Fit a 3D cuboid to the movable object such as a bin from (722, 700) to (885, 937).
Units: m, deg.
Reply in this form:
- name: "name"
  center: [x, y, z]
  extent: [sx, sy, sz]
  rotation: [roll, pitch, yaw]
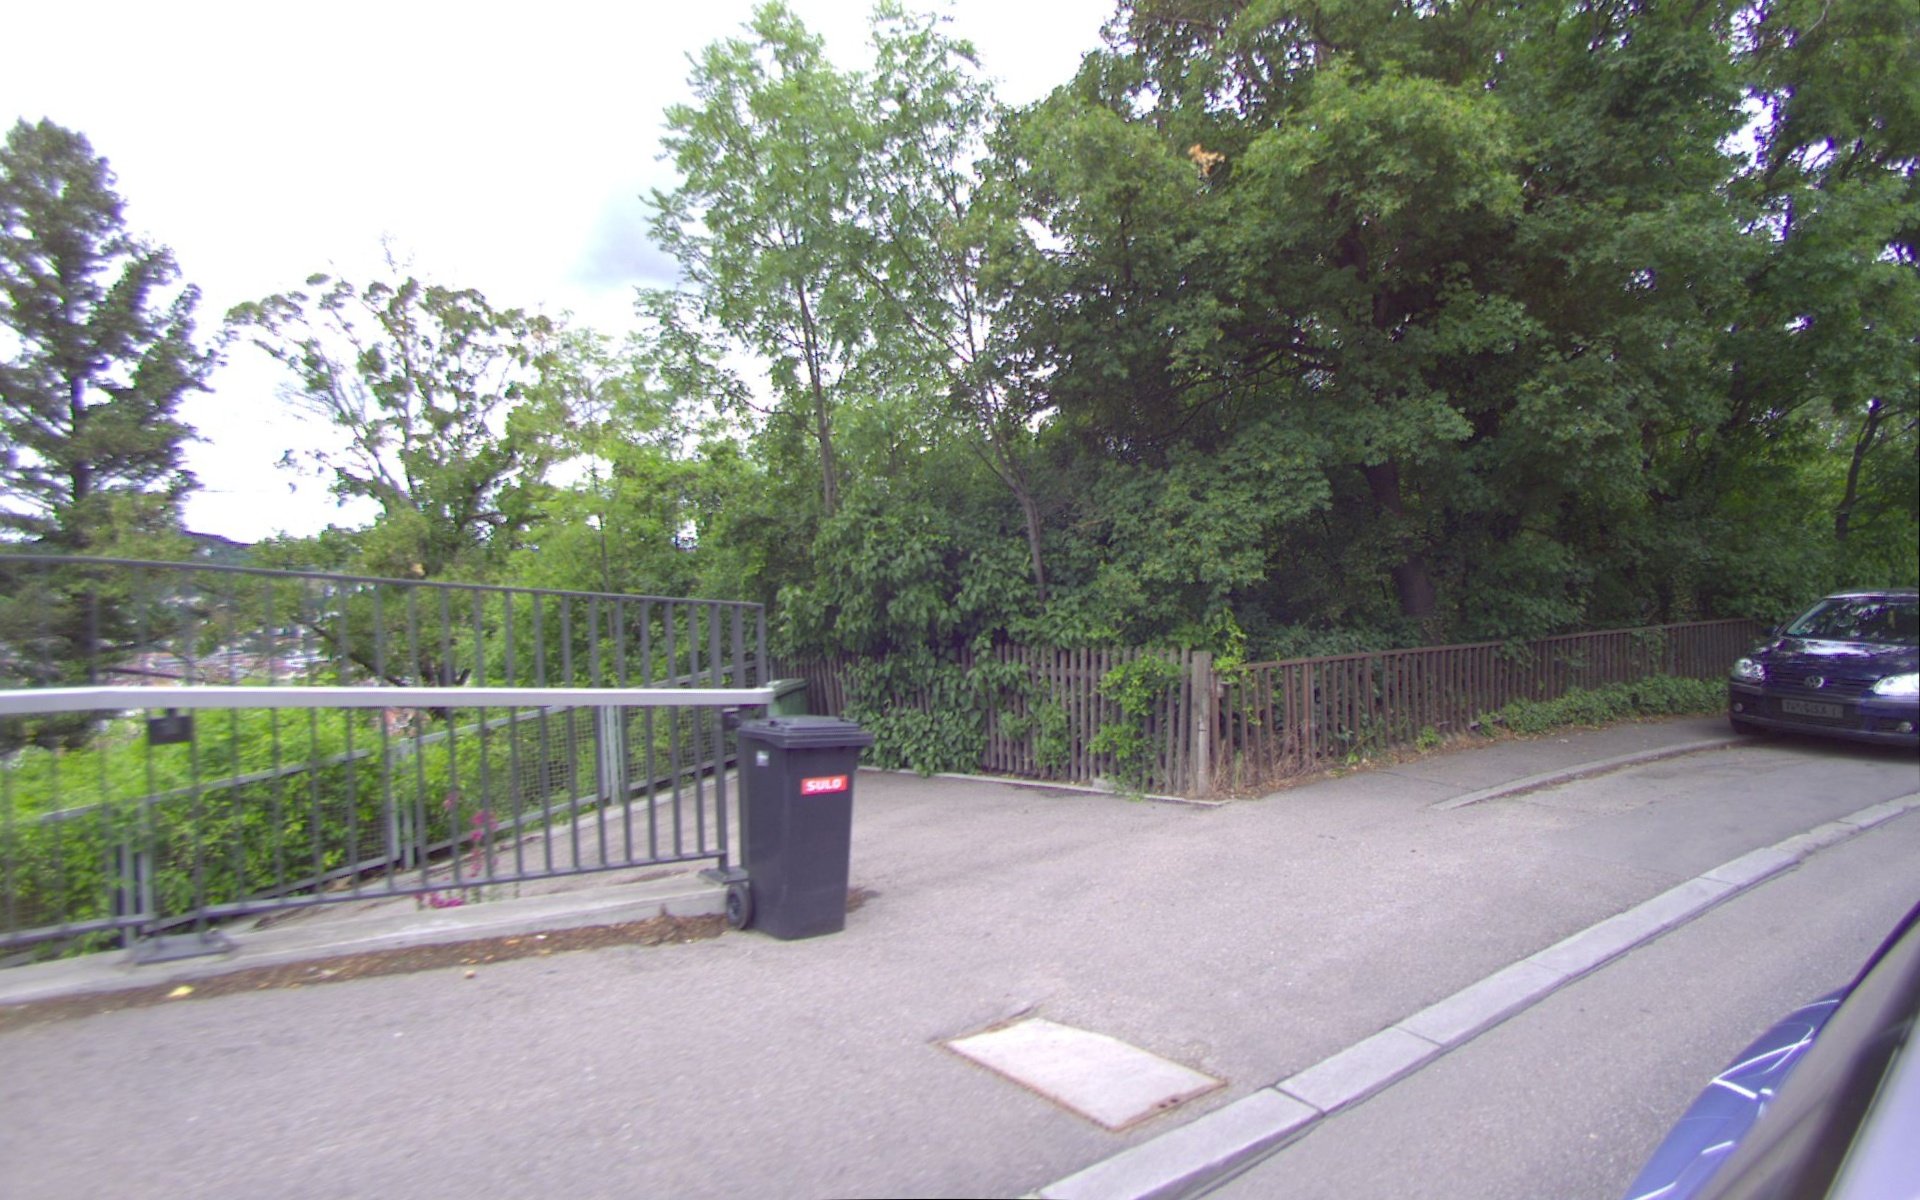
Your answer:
- name: "movable object such as a bin"
  center: [-0.697, 0.923, 4.483]
  extent: [0.522, 0.892, 0.521]
  rotation: [1, -1, -39]

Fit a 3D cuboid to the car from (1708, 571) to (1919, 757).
- name: "car"
  center: [9.184, 0.521, 9.746]
  extent: [3.953, 1.506, 1.667]
  rotation: [0, 0, -28]
